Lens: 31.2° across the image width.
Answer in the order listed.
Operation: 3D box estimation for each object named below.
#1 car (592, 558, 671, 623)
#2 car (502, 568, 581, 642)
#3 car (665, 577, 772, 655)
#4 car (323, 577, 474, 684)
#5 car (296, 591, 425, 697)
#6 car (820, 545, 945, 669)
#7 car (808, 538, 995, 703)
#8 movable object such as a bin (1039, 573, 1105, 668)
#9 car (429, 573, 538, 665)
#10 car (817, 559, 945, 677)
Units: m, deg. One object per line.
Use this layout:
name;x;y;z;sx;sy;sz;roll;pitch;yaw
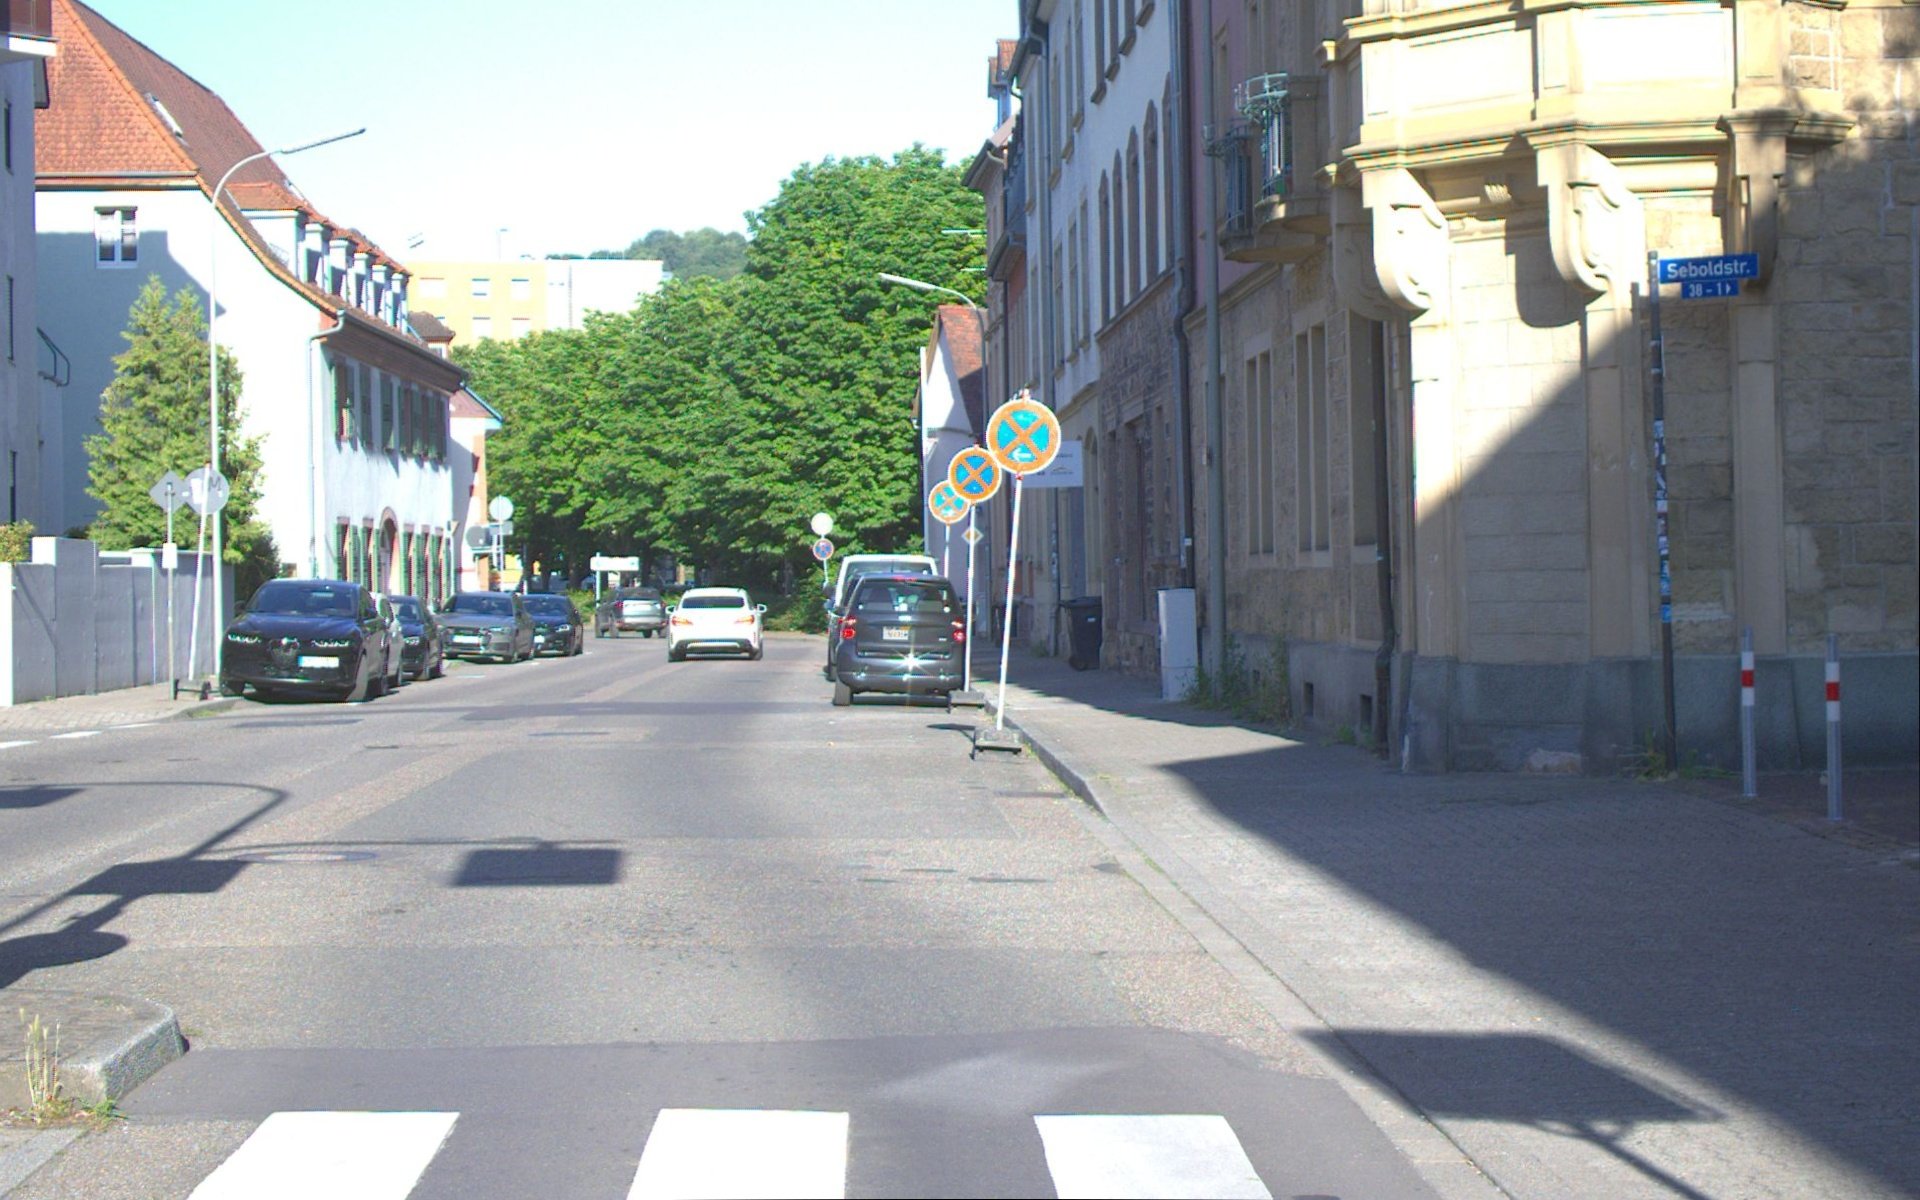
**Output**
car;-10.602;-0.315;110.652;1.993;2.007;4.001;-1;1;-13
car;-9.866;0.091;81.148;1.630;1.625;3.175;-2;1;-4
car;-4.763;0.291;67.337;1.993;1.461;4.001;-1;0;-5
car;-9.411;0.483;57.856;2.092;1.625;3.822;-2;1;-4
car;-9.040;0.635;52.040;1.553;1.453;3.061;-2;1;-4
car;-1.320;0.080;57.094;1.841;1.899;4.001;-2;1;-4
car;-0.751;0.199;40.914;2.010;1.846;4.001;0;1;-4
movable object such as a bin;1.684;0.301;51.784;0.871;1.373;0.685;-2;1;-4
car;-9.977;0.373;72.190;1.910;1.754;4.129;-2;1;-4
car;-1.171;0.246;52.276;1.818;1.625;4.000;-2;1;0
